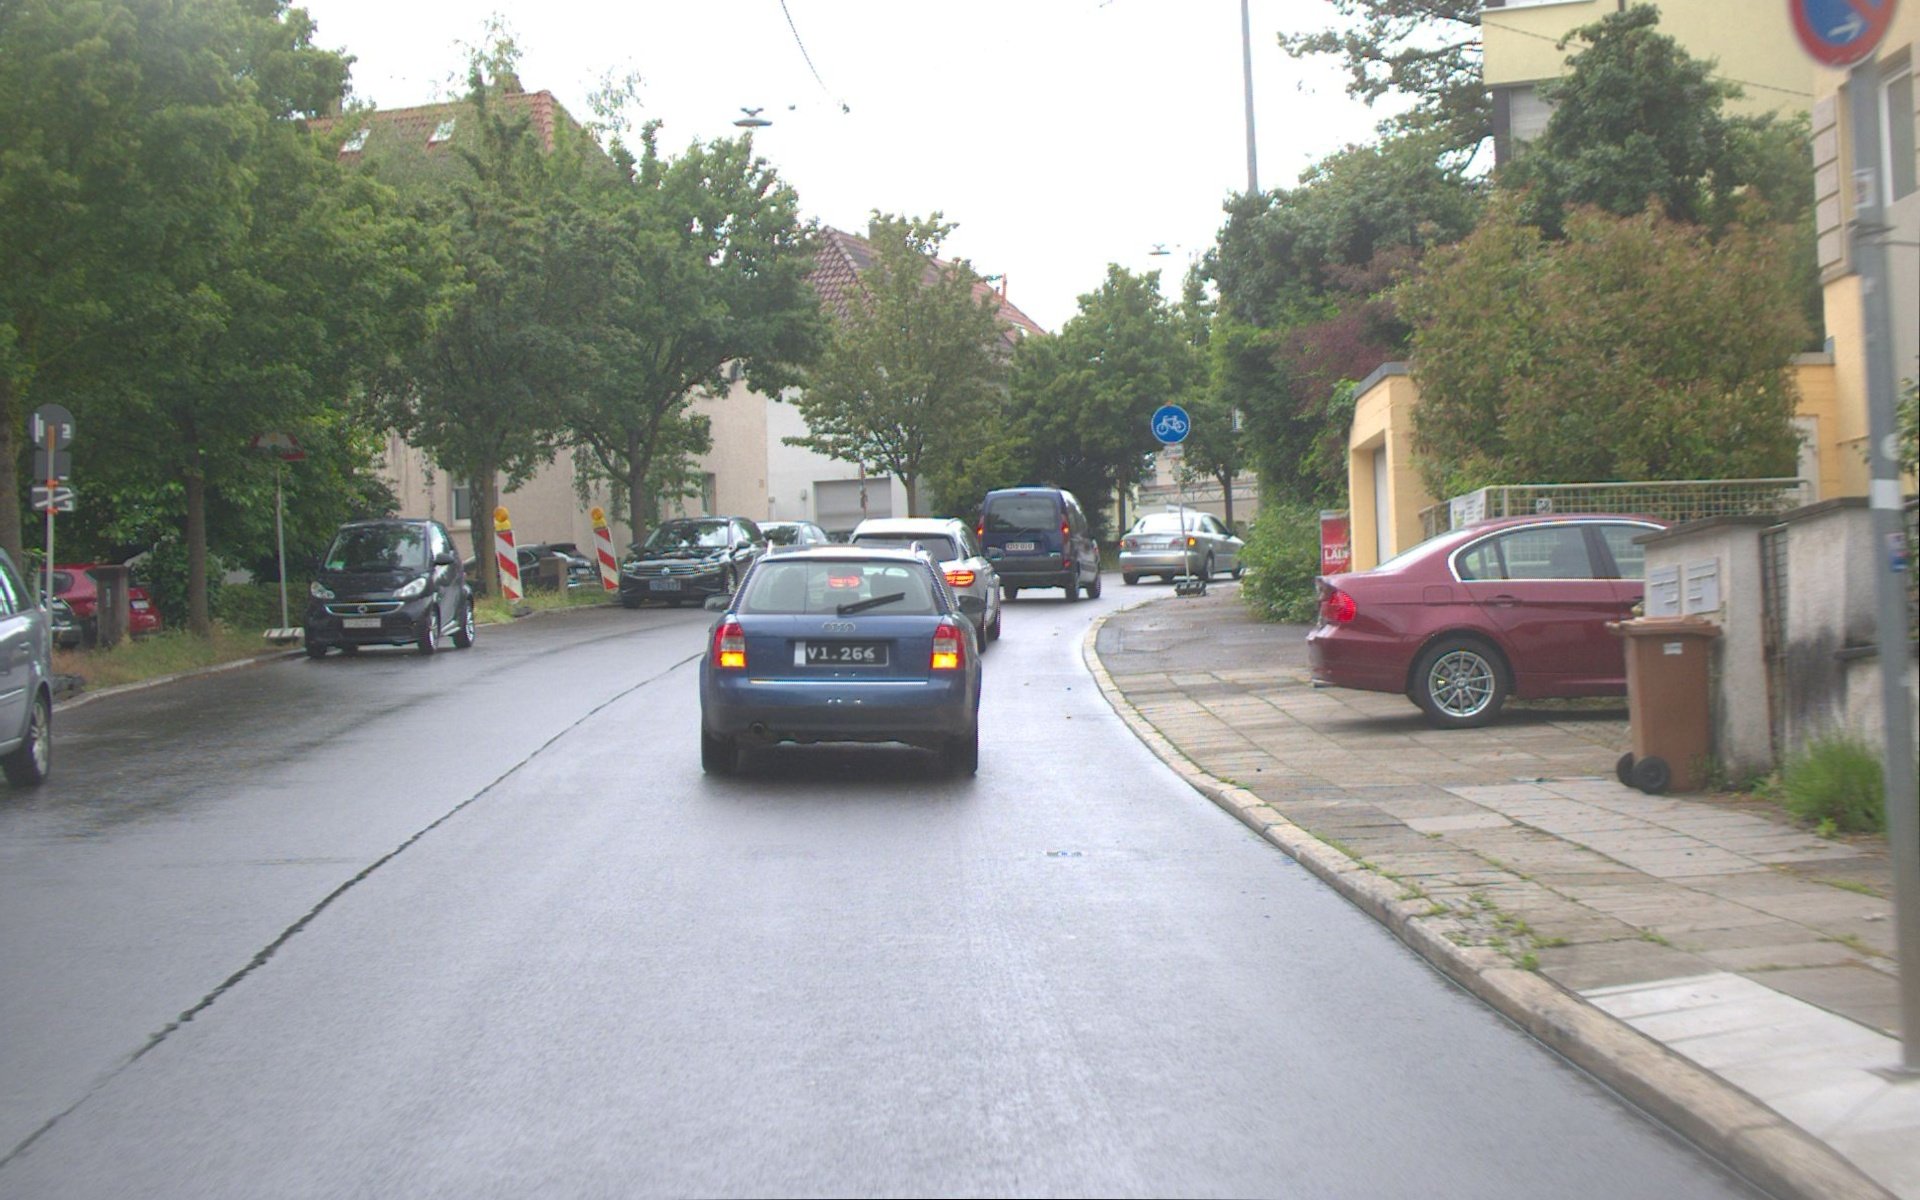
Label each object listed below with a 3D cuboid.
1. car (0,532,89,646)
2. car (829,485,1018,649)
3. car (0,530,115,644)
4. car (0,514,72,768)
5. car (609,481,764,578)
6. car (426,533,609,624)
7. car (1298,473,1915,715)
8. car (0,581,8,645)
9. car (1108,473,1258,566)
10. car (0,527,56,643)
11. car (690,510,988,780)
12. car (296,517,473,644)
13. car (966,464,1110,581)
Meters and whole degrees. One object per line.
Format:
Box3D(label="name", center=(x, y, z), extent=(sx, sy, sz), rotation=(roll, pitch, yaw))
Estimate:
Box3D(label="car", center=(-13.443, -0.018, 45.693), extent=(3.210, 1.367, 1.480), rotation=(-7, 3, 0))
Box3D(label="car", center=(-0.383, -0.424, 38.799), extent=(1.975, 1.629, 4.236), rotation=(2, 3, 0))
Box3D(label="car", center=(-13.639, -0.060, 47.915), extent=(3.210, 1.367, 1.480), rotation=(-8, 3, 0))
Box3D(label="car", center=(-6.700, 0.280, 20.569), extent=(1.768, 1.534, 4.008), rotation=(-2, 1, -1))
Box3D(label="car", center=(-4.503, -1.203, 57.052), extent=(1.734, 1.461, 3.999), rotation=(2, 3, 7))
Box3D(label="car", center=(-8.954, -0.438, 69.599), extent=(3.212, 1.367, 1.479), rotation=(-7, 3, 15))
Box3D(label="car", center=(4.433, -0.068, 24.033), extent=(3.987, 1.461, 1.739), rotation=(-2, 3, 3))
Box3D(label="car", center=(-13.356, -0.102, 41.357), extent=(3.210, 1.734, 1.480), rotation=(-7, 3, 0))
Box3D(label="car", center=(4.541, -1.653, 69.559), extent=(1.735, 1.762, 4.230), rotation=(3, 3, 22))
Box3D(label="car", center=(-13.319, -0.026, 43.443), extent=(3.210, 1.367, 1.683), rotation=(-7, 3, 0))
Box3D(label="car", center=(-0.782, 0.215, 22.412), extent=(1.733, 1.461, 4.001), rotation=(2, 3, -2))
Box3D(label="car", center=(-6.667, -0.254, 40.075), extent=(1.475, 1.291, 3.221), rotation=(2, 3, 1))
Box3D(label="car", center=(1.323, -1.310, 56.551), extent=(1.734, 1.762, 4.234), rotation=(2, 3, 9))
